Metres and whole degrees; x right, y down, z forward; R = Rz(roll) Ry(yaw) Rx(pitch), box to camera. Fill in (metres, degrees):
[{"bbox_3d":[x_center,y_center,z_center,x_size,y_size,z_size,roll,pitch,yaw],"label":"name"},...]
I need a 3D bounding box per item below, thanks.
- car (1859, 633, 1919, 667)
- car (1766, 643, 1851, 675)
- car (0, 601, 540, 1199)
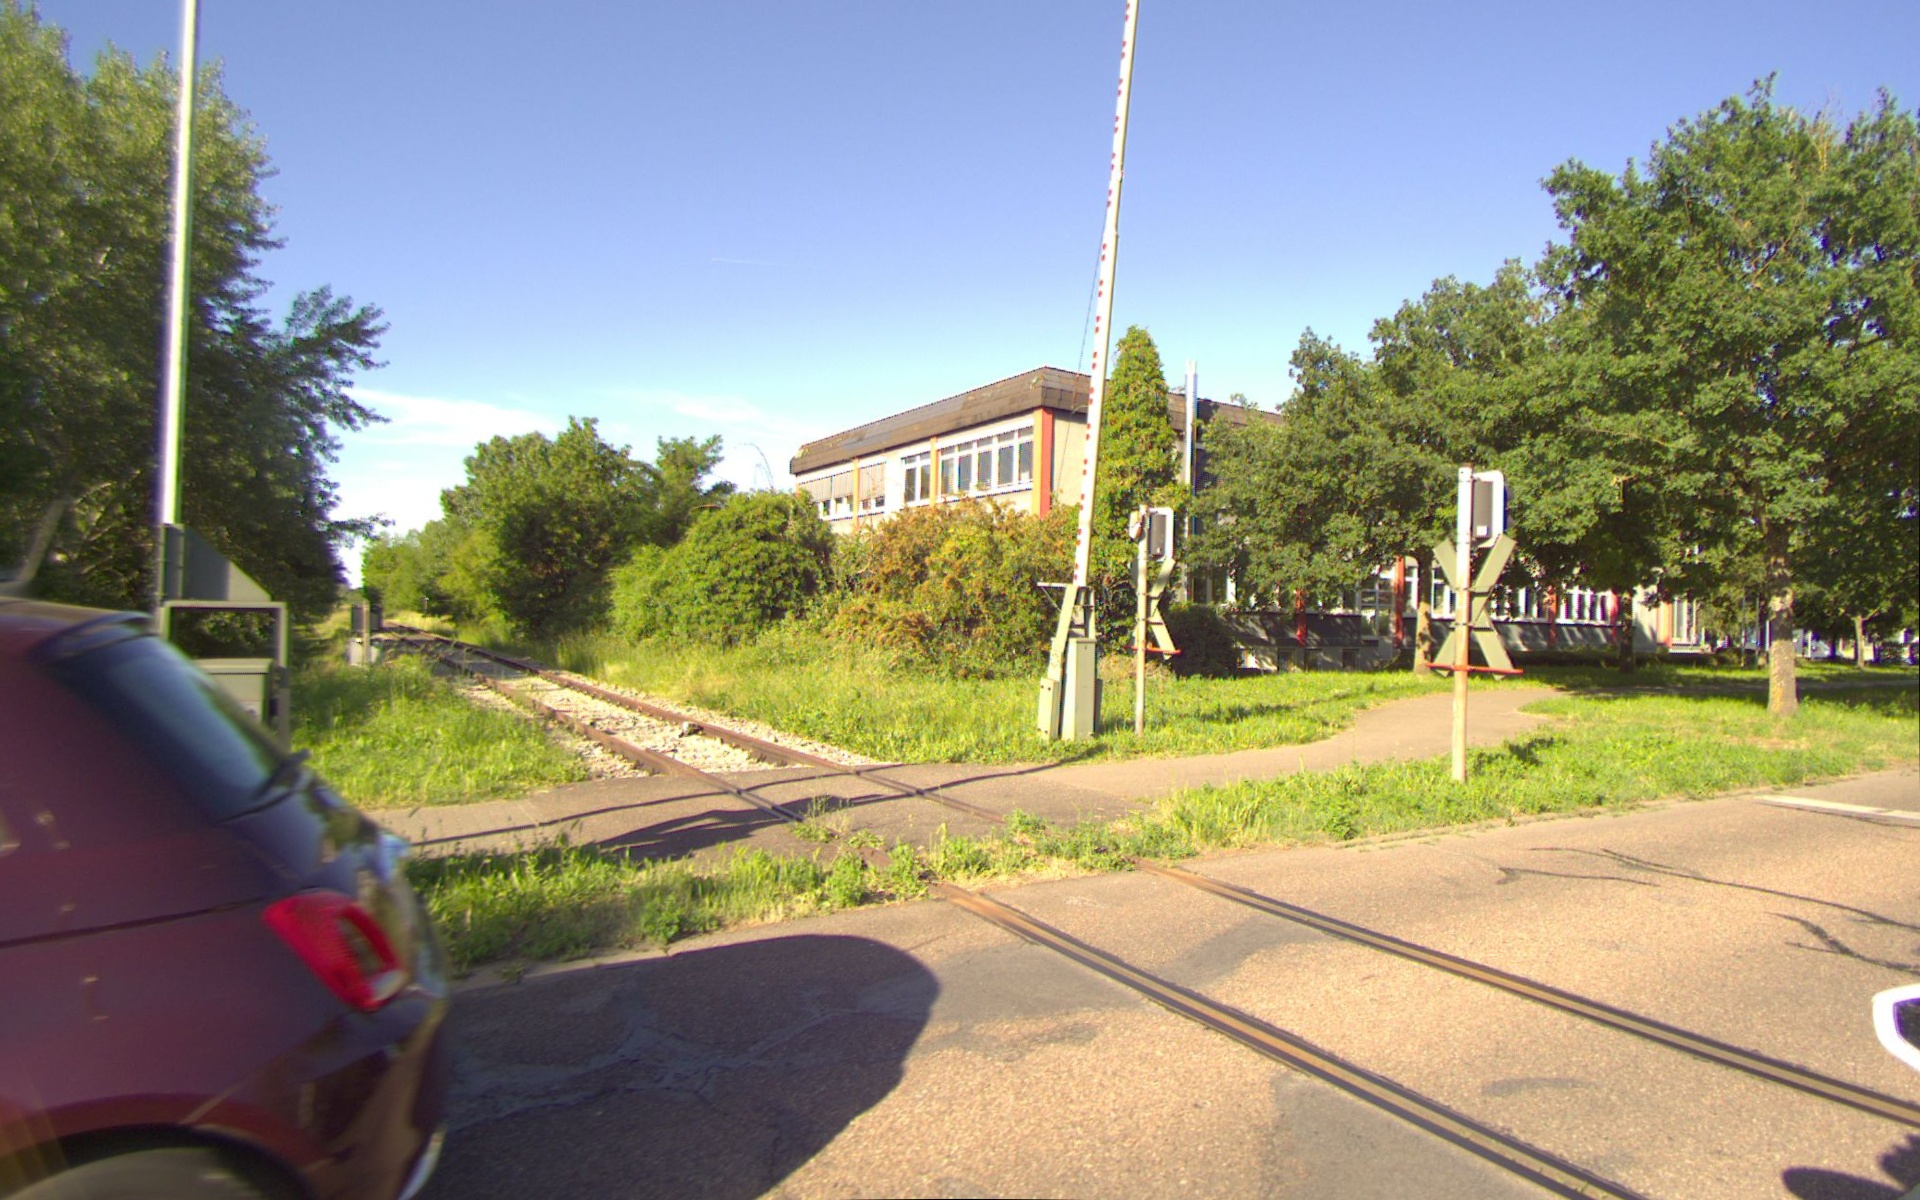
[{"bbox_3d":[62.943,3.327,65.843,1.984,2.040,5.741,2,0,-40],"label":"car"},{"bbox_3d":[50.944,3.534,60.335,1.973,1.664,3.349,2,0,-25],"label":"car"},{"bbox_3d":[-2.870,0.725,1.487,3.954,1.524,1.558,2,-2,-31],"label":"car"}]
